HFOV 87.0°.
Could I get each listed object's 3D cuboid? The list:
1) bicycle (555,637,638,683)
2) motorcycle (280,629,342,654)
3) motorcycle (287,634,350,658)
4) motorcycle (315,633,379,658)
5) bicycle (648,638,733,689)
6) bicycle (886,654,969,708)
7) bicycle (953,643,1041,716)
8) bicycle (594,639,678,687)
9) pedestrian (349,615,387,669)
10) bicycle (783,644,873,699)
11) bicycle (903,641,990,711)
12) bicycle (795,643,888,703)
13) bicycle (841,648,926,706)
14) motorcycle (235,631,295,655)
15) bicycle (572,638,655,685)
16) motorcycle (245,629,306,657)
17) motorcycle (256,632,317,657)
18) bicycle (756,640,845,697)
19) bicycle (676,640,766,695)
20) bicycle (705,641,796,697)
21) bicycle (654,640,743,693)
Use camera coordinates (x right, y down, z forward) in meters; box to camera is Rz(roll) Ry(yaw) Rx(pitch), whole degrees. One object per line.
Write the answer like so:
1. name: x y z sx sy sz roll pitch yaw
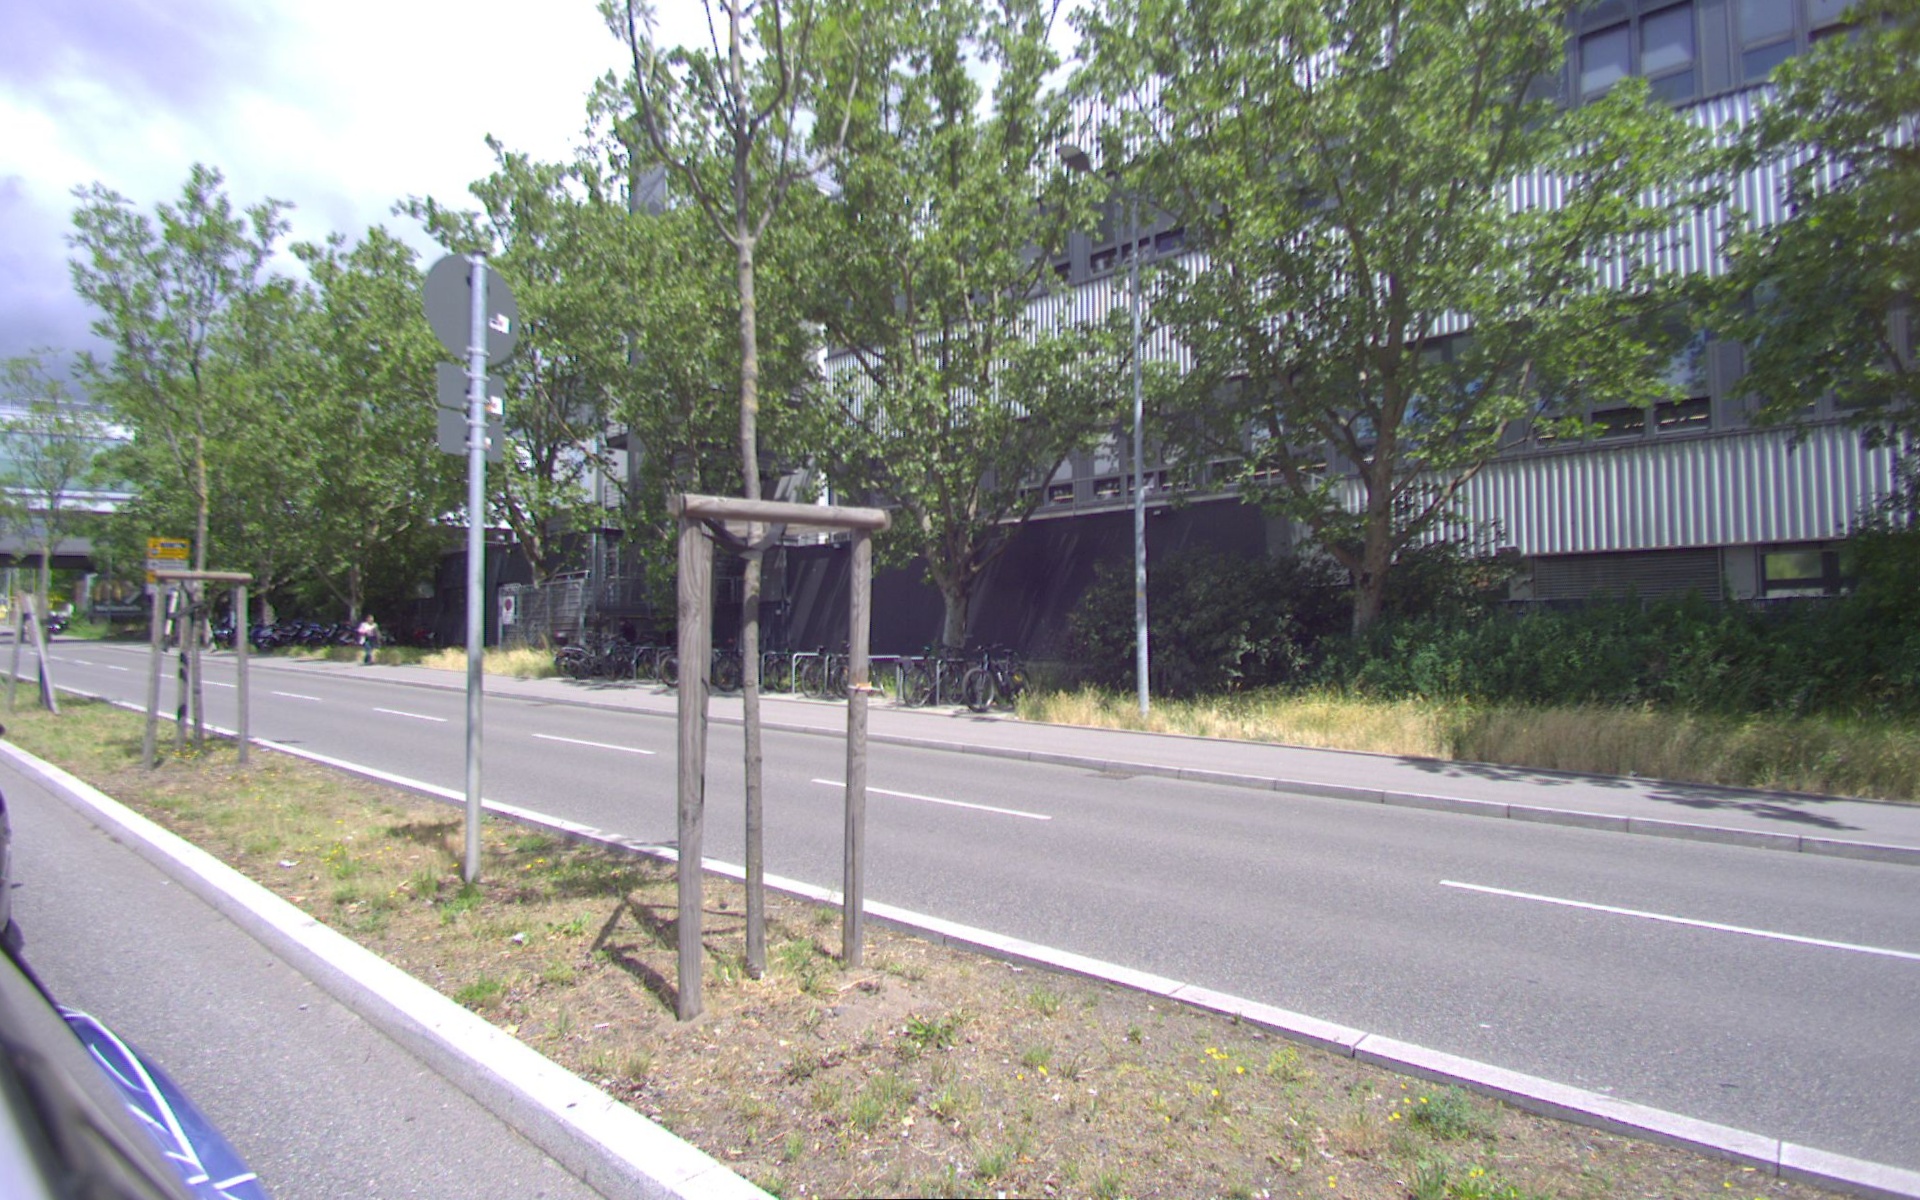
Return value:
1. bicycle: -9.541 1.548 26.640 0.382 1.119 2.101 -2 -1 43
2. motorcycle: -26.694 1.683 41.656 0.534 0.976 2.105 -2 -1 41
3. motorcycle: -25.979 1.848 41.033 0.534 0.892 2.105 -2 -1 41
4. motorcycle: -24.045 1.788 39.747 0.534 0.905 2.105 -2 -1 41
5. bicycle: -6.476 1.508 24.422 0.382 1.119 2.101 -2 -1 43
6. bicycle: -0.593 1.518 19.229 0.381 0.897 1.968 -2 -1 39
7. bicycle: 0.664 1.337 17.405 0.381 1.137 1.968 -2 -1 39
8. bicycle: -8.156 1.563 25.546 0.382 1.119 2.101 -2 -1 43
9. pedestrian: -19.239 1.359 32.904 0.672 1.734 0.888 -1 -2 41
10. bicycle: -2.739 1.476 21.144 0.382 1.038 2.101 -2 -1 43
11. bicycle: -0.216 1.333 18.127 0.381 1.137 1.968 -2 -1 39
12. bicycle: -2.336 1.432 20.236 0.382 1.104 2.101 -2 -1 43
13. bicycle: -1.466 1.474 19.714 0.381 1.005 1.968 -2 -1 39
14. motorcycle: -30.467 1.890 44.390 0.534 0.976 2.105 -2 -1 41
15. bicycle: -8.900 1.567 26.094 0.382 1.119 2.101 -2 -1 43
16. motorcycle: -29.463 1.853 43.575 0.534 1.146 2.105 -2 -1 41
17. motorcycle: -28.306 1.860 42.559 0.534 0.976 2.105 -2 -1 41
18. bicycle: -3.408 1.453 21.758 0.382 1.119 2.101 -2 -1 43
19. bicycle: -5.329 1.486 22.675 0.382 1.119 2.101 -2 -1 43
20. bicycle: -4.539 1.476 22.024 0.382 1.119 2.101 -2 -1 43
21. bicycle: -5.986 1.497 23.272 0.382 1.119 2.101 -2 -1 43
